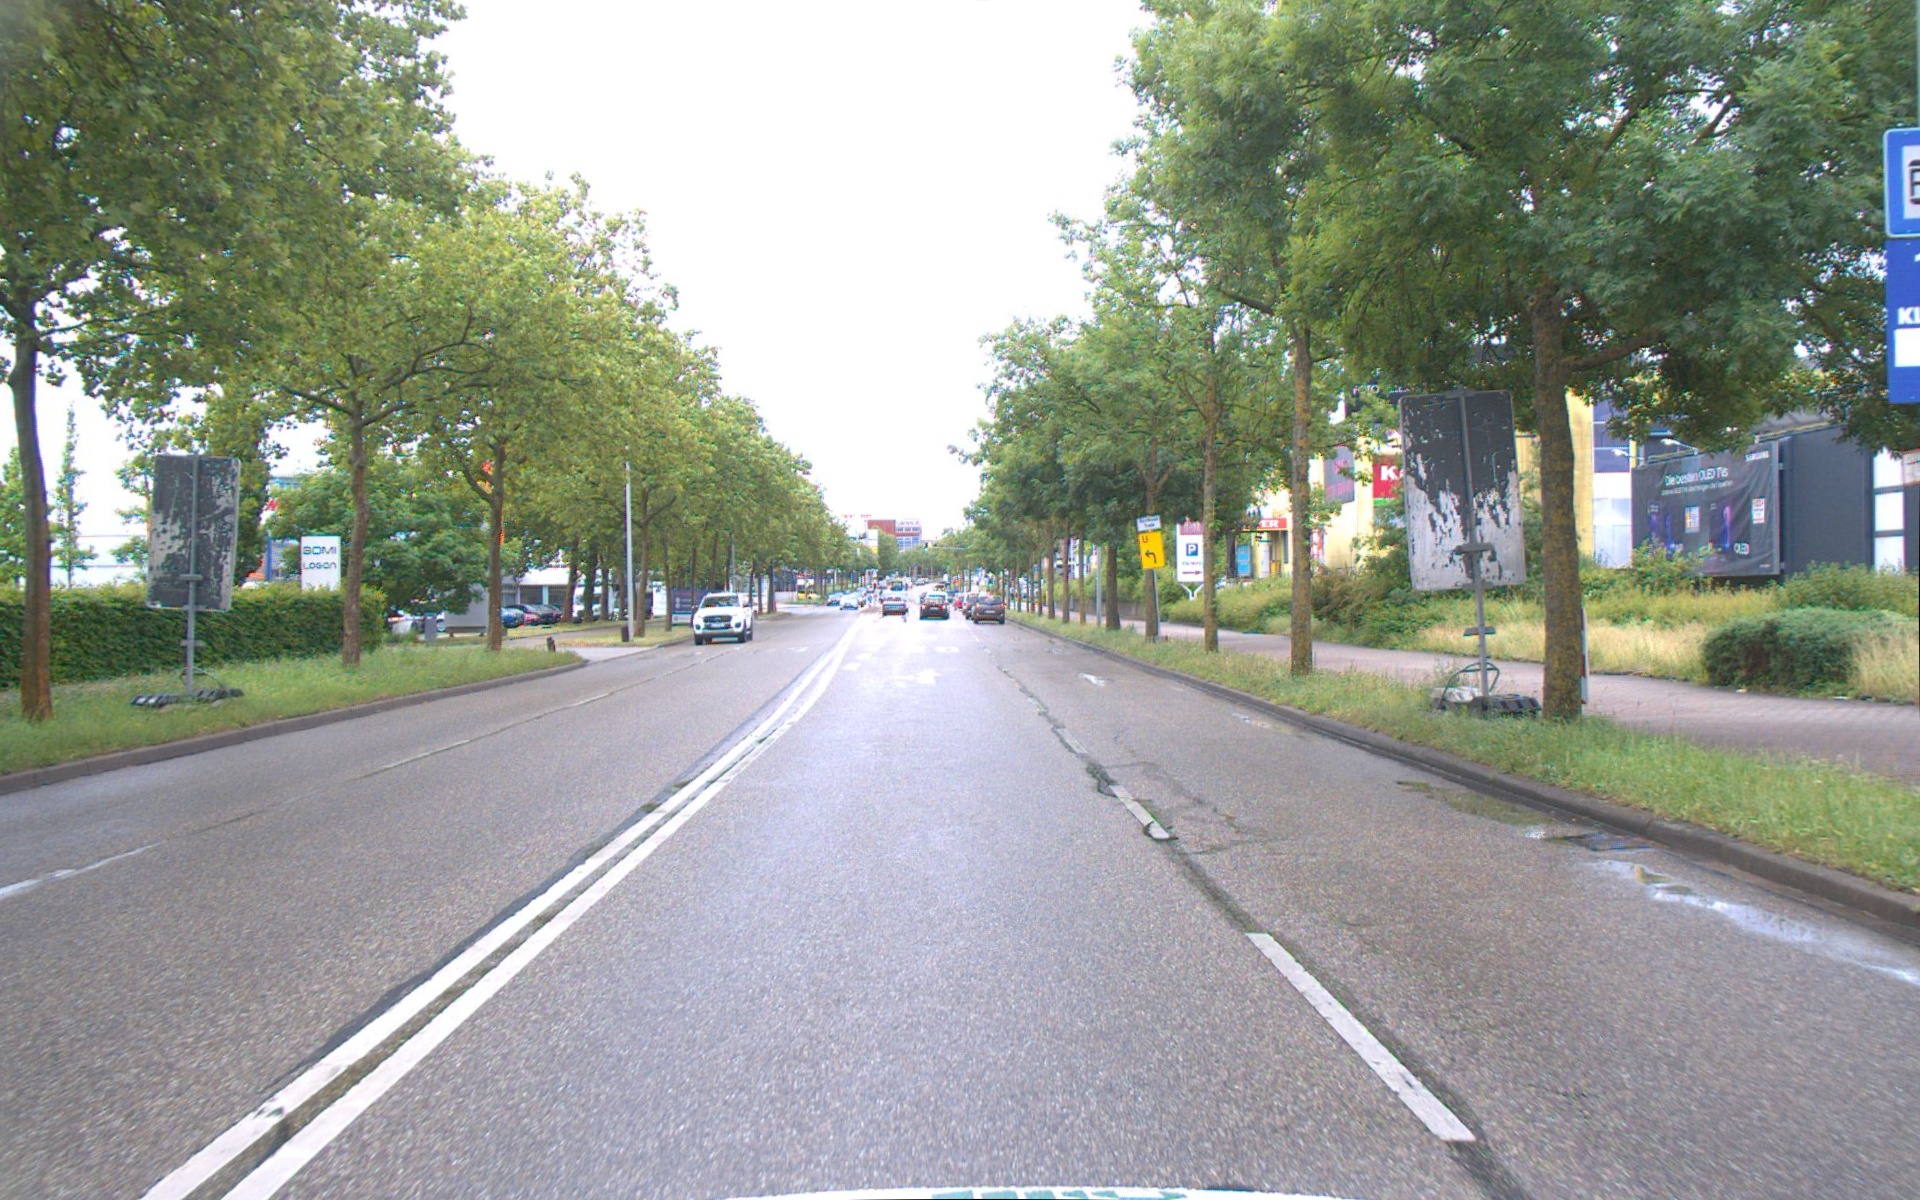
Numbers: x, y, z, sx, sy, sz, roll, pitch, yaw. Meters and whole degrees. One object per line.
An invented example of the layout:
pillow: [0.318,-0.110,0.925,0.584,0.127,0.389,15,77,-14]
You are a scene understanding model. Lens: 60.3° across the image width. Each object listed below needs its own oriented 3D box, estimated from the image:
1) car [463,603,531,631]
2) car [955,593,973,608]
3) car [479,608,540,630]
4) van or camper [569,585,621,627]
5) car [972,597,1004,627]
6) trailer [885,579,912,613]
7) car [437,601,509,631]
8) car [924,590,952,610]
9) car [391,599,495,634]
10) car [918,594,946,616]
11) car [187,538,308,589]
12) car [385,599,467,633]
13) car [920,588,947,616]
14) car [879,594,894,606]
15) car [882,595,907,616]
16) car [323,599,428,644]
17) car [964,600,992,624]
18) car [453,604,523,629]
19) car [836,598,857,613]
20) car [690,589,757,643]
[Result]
car: [-30.477,1.103,108.883,3.902,1.797,1.866,-1,0,15]
car: [0.395,0.049,160.975,1.661,1.468,3.988,-1,0,-1]
car: [-32.405,1.353,119.042,3.901,1.493,1.601,-1,0,11]
van or camper: [-23.019,0.360,104.484,1.953,2.513,6.400,1,0,-1]
car: [1.630,0.667,96.276,1.691,1.652,4.470,-1,0,-1]
trailer: [-5.528,-0.373,147.824,2.325,2.947,5.543,-1,0,-3]
car: [-30.499,1.018,103.700,3.902,1.797,1.866,-1,0,14]
car: [-1.548,-0.010,116.643,1.649,1.401,3.996,-1,0,-5]
car: [-29.671,0.934,95.032,5.270,1.936,2.413,-1,0,-5]
car: [-1.868,0.316,109.659,1.746,1.422,3.998,0,0,-2]
car: [-28.009,-1.420,65.117,3.905,1.922,1.963,-1,0,-1]
car: [-29.494,0.888,91.401,3.908,1.797,1.881,-1,0,-4]
car: [-1.987,0.143,124.460,1.953,2.049,3.999,1,-1,-1]
car: [-9.126,-0.025,205.730,1.649,1.401,3.996,-1,0,-5]
car: [-5.274,0.403,132.897,1.868,1.606,4.879,-1,0,-1]
car: [-20.923,0.739,59.457,2.075,1.522,5.244,-1,0,-2]
car: [1.248,0.819,115.378,1.764,1.614,4.450,1,0,-1]
car: [-30.303,1.061,106.315,3.902,1.547,1.867,-1,0,13]
car: [-11.606,0.507,168.494,1.955,1.454,4.679,-2,0,-6]
car: [-8.718,0.560,61.372,1.873,1.837,5.338,-2,0,-3]
